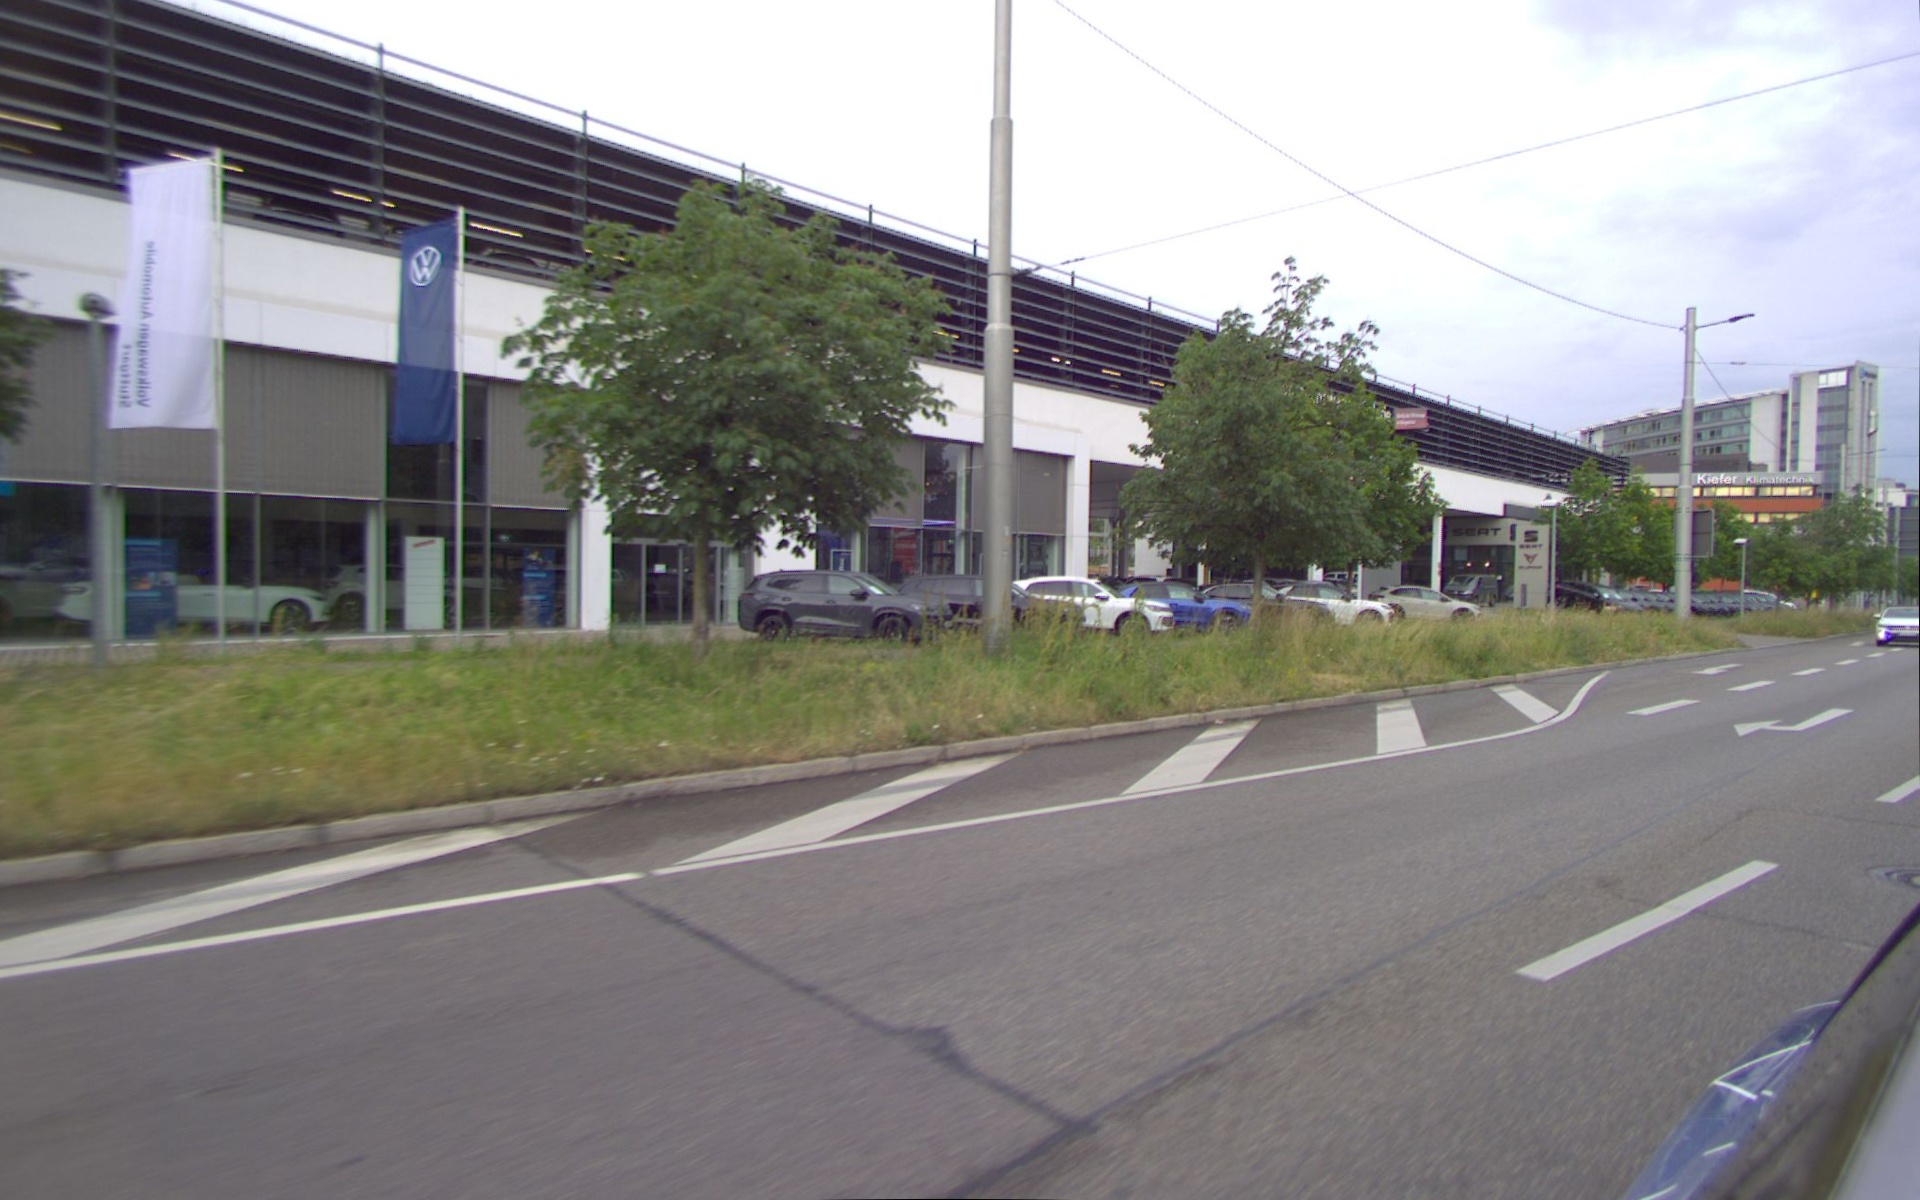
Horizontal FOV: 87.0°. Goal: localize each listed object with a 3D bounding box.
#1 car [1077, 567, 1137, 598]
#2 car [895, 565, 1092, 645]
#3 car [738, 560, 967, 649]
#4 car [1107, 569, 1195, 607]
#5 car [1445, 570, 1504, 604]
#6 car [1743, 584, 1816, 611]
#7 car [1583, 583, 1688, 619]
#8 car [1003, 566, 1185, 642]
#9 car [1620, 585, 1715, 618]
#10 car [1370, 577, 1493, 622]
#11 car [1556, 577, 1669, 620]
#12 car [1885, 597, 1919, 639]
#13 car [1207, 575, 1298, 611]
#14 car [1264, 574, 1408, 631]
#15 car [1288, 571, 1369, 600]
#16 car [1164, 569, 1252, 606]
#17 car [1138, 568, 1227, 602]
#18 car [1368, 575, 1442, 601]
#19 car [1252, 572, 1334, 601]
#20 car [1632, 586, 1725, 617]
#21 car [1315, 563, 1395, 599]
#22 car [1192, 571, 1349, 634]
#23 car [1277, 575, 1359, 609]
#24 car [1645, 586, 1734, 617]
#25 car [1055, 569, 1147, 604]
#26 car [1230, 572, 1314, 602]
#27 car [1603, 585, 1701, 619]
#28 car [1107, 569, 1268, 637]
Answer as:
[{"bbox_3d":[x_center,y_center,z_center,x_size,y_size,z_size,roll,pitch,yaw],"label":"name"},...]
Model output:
[{"bbox_3d":[10.155,-1.204,69.632,4.029,2.038,1.996,-2,3,-43],"label":"car"},{"bbox_3d":[0.816,0.069,23.901,4.317,1.587,1.790,3,3,17],"label":"car"},{"bbox_3d":[-2.306,0.029,21.802,4.566,1.587,1.842,3,3,19],"label":"car"},{"bbox_3d":[8.866,-0.577,47.197,1.611,1.607,3.821,0,2,-42],"label":"car"},{"bbox_3d":[31.994,-0.783,62.923,4.356,1.963,1.889,1,1,-44],"label":"car"},{"bbox_3d":[69.226,-0.269,85.583,4.464,2.016,1.802,4,2,30],"label":"car"},{"bbox_3d":[36.354,0.020,54.608,4.280,1.632,1.858,3,2,19],"label":"car"},{"bbox_3d":[3.436,0.046,25.863,4.299,1.646,1.846,3,3,19],"label":"car"},{"bbox_3d":[40.565,0.077,58.159,4.107,1.624,1.812,4,2,24],"label":"car"},{"bbox_3d":[18.322,-0.053,39.504,4.042,1.483,1.741,3,3,15],"label":"car"},{"bbox_3d":[33.464,-0.129,52.062,1.786,1.899,4.734,2,2,-19],"label":"car"},{"bbox_3d":[36.156,0.672,37.872,3.770,1.513,1.877,1,1,-42],"label":"car"},{"bbox_3d":[13.185,-0.338,45.538,4.615,1.485,1.782,-1,4,-43],"label":"car"},{"bbox_3d":[12.067,0.039,32.710,4.036,1.587,1.794,3,3,12],"label":"car"},{"bbox_3d":[21.532,-0.845,59.201,1.872,1.555,3.993,0,2,-42],"label":"car"},{"bbox_3d":[12.366,-0.601,50.649,1.857,1.750,3.994,0,-1,-40],"label":"car"},{"bbox_3d":[10.742,-0.693,49.098,1.754,1.527,3.994,0,-1,-39],"label":"car"},{"bbox_3d":[28.993,-0.770,65.965,1.695,1.532,4.036,0,2,-44],"label":"car"},{"bbox_3d":[18.403,-0.756,56.032,1.734,1.442,3.993,0,2,-42],"label":"car"},{"bbox_3d":[42.678,0.061,60.224,4.107,1.588,1.812,4,2,24],"label":"car"},{"bbox_3d":[23.771,-1.161,60.971,1.912,2.000,4.033,0,2,-42],"label":"car"},{"bbox_3d":[9.131,0.036,30.080,4.119,1.587,1.796,2,3,8],"label":"car"},{"bbox_3d":[17.803,-0.420,50.265,4.617,1.485,1.897,-1,4,-43],"label":"car"},{"bbox_3d":[44.743,0.062,62.173,4.115,1.588,1.891,4,2,28],"label":"car"},{"bbox_3d":[6.396,-0.627,46.102,3.811,1.470,1.709,3,2,40],"label":"car"},{"bbox_3d":[16.745,-0.714,54.388,1.734,1.442,3.993,0,2,-42],"label":"car"},{"bbox_3d":[38.437,0.075,56.352,4.105,1.581,1.856,3,2,22],"label":"car"},{"bbox_3d":[6.210,0.038,27.834,4.128,1.587,1.793,3,3,14],"label":"car"}]
